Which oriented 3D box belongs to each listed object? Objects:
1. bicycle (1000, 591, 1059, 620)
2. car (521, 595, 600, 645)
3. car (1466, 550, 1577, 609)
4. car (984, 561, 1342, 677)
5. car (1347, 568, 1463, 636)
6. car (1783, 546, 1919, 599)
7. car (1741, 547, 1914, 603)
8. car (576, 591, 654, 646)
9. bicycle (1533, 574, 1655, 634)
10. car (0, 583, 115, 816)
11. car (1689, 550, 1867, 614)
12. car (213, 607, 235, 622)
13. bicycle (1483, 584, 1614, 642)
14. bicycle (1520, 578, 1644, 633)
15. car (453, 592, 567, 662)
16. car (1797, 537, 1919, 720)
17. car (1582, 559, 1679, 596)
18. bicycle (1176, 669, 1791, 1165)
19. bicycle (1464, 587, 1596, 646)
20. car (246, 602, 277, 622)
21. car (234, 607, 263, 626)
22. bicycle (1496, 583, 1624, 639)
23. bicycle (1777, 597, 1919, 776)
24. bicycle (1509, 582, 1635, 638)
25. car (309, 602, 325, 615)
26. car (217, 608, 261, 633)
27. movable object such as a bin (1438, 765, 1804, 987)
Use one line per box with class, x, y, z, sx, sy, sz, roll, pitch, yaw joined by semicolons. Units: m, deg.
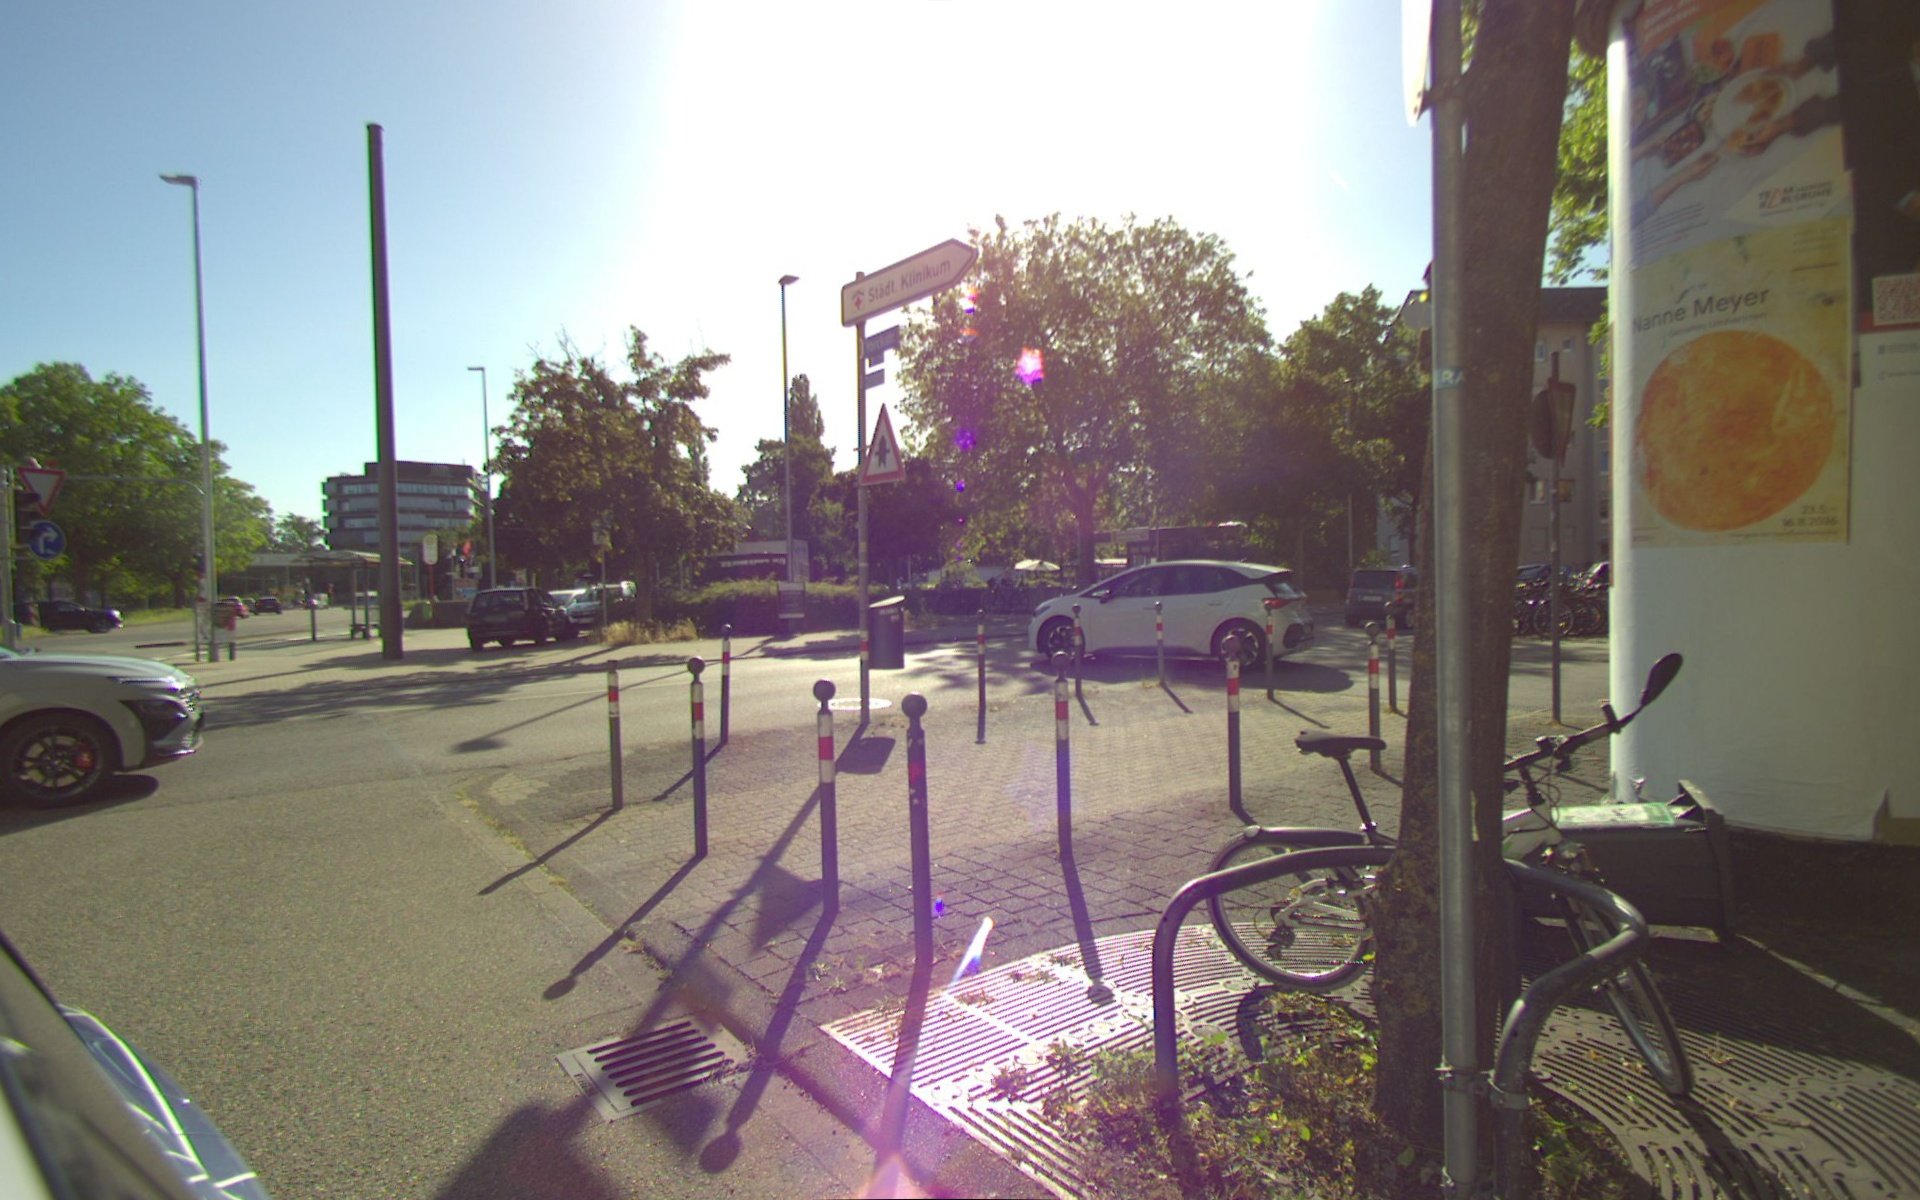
bicycle;2.404;0.195;35.217;0.548;0.990;2.316;-2;1;-40
car;-13.277;0.612;33.859;1.657;1.519;3.603;-2;1;-8
car;20.511;-0.759;36.907;4.357;2.029;2.168;-2;1;-41
car;2.996;0.263;15.480;5.025;1.530;1.901;-1;1;35
car;11.221;0.017;25.451;1.622;1.573;3.210;-1;1;44
car;27.949;-0.848;31.333;3.577;1.492;1.605;-1;1;29
car;25.399;-0.712;29.788;3.577;1.492;1.605;-1;1;29
car;-10.922;0.534;32.263;1.770;1.591;4.009;-2;1;-11
bicycle;13.179;0.087;21.085;0.658;1.186;2.035;-2;0;-45
car;-8.437;0.740;6.565;4.413;1.564;1.909;-2;1;-38
car;20.643;-0.440;25.703;3.243;1.492;1.605;-1;1;29
car;-90.878;1.790;124.982;1.968;1.674;4.493;-2;1;-39
bicycle;11.073;0.257;19.091;0.562;1.039;2.035;-2;0;-45
bicycle;12.338;0.123;20.134;0.442;1.039;2.035;-2;0;-45
car;-11.295;0.620;25.635;1.657;1.519;3.603;-4;1;-8
car;9.526;0.198;7.867;1.878;1.530;4.310;-2;1;-36
car;35.059;-1.173;53.100;2.038;1.811;4.427;-1;1;-1
bicycle;1.449;0.789;3.046;1.593;1.080;0.349;-1;1;43
bicycle;10.495;0.309;18.688;0.562;1.039;2.035;-2;0;-45
car;-58.270;1.007;84.425;1.967;1.564;4.495;-2;1;-36
car;-65.582;1.506;93.277;1.968;1.674;4.495;-2;1;-37
bicycle;11.495;0.220;19.451;0.462;1.039;2.035;-2;0;-45
bicycle;6.046;0.527;6.193;1.593;1.080;0.349;-1;1;43
bicycle;11.897;0.207;19.737;0.442;1.039;2.035;-2;0;-45
car;-104.958;1.369;165.212;1.967;2.029;4.010;-2;1;-35
car;-49.060;1.381;68.941;1.966;1.564;4.499;-2;1;-30
movable object such as a bin;2.514;1.016;3.941;1.110;0.569;0.571;-1;1;33
